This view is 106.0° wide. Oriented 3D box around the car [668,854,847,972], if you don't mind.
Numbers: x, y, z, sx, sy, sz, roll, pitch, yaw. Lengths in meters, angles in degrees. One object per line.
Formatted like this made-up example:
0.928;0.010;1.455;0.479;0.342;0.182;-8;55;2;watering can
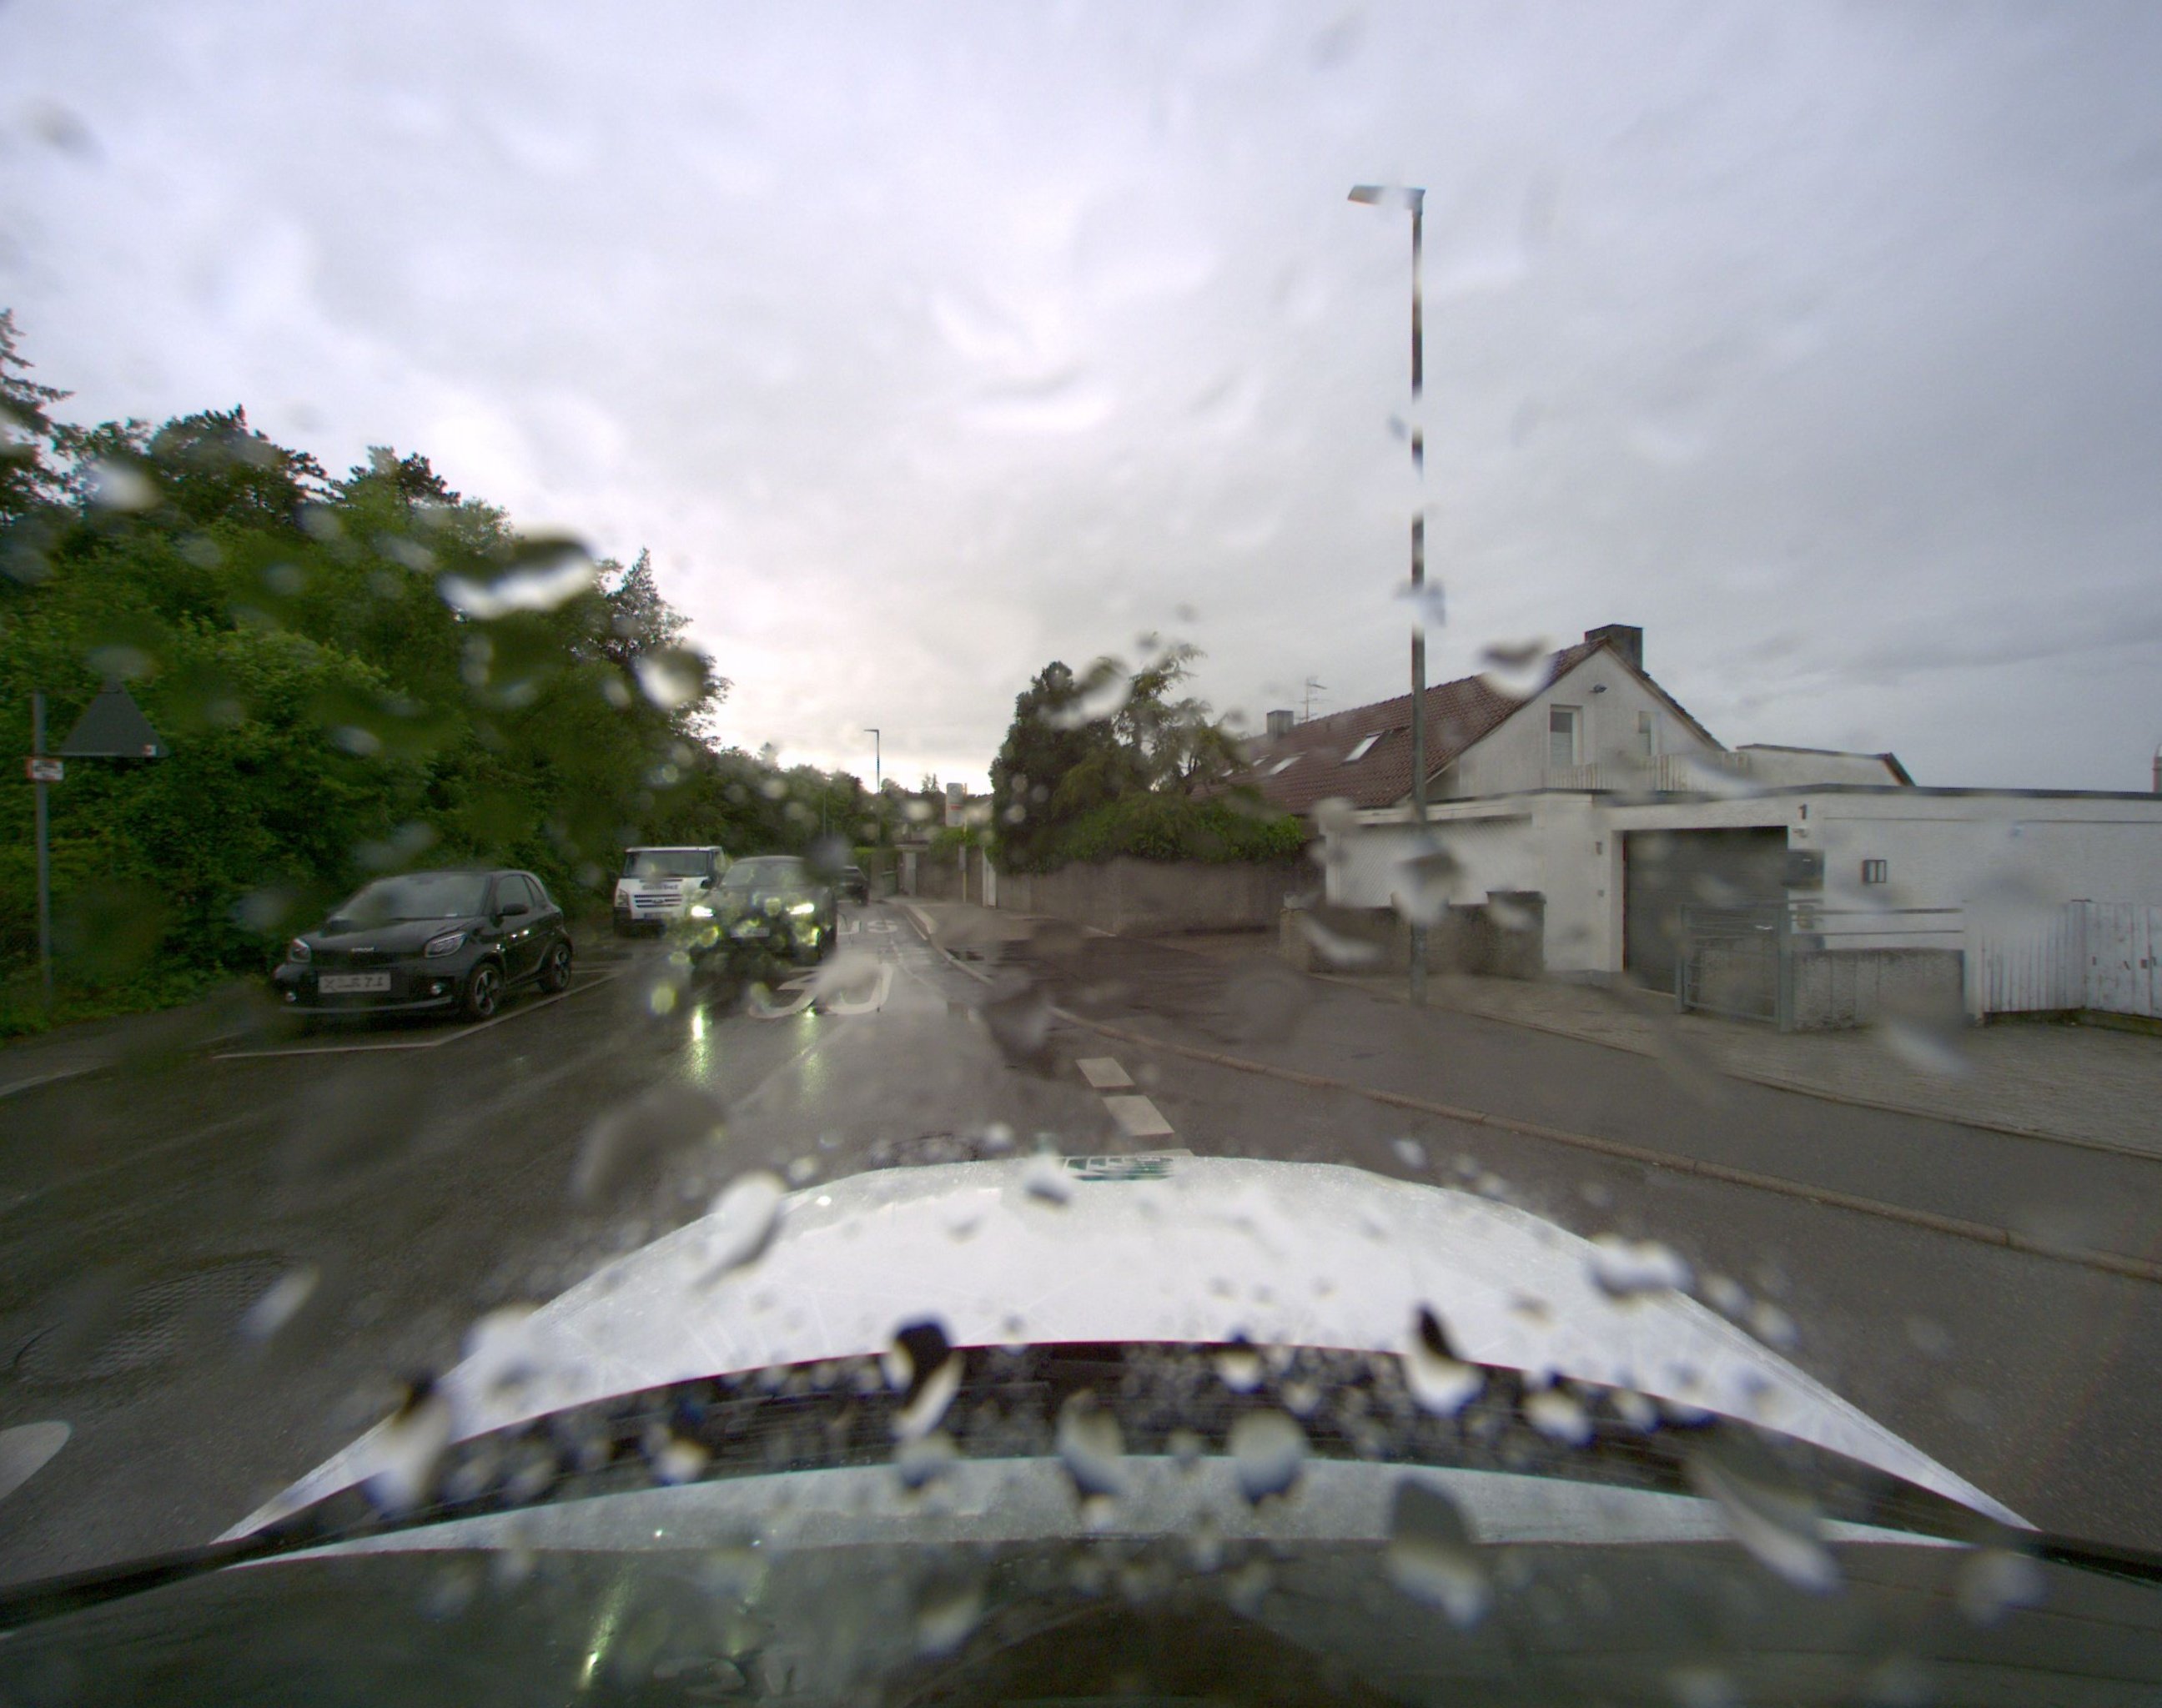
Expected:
-5.150;0.838;13.610;1.930;1.605;4.327;-1;0;-10;car

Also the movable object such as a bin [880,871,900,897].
-8.426;1.298;35.879;0.741;1.088;0.596;-3;0;-20;movable object such as a bin

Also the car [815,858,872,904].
-8.815;1.070;30.461;1.872;1.513;4.070;1;-5;-15;car

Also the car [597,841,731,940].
-9.675;0.764;19.333;2.118;1.974;5.138;-1;0;-19;car

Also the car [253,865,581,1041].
-6.897;0.896;8.853;1.604;1.511;2.929;-1;0;-13;car
